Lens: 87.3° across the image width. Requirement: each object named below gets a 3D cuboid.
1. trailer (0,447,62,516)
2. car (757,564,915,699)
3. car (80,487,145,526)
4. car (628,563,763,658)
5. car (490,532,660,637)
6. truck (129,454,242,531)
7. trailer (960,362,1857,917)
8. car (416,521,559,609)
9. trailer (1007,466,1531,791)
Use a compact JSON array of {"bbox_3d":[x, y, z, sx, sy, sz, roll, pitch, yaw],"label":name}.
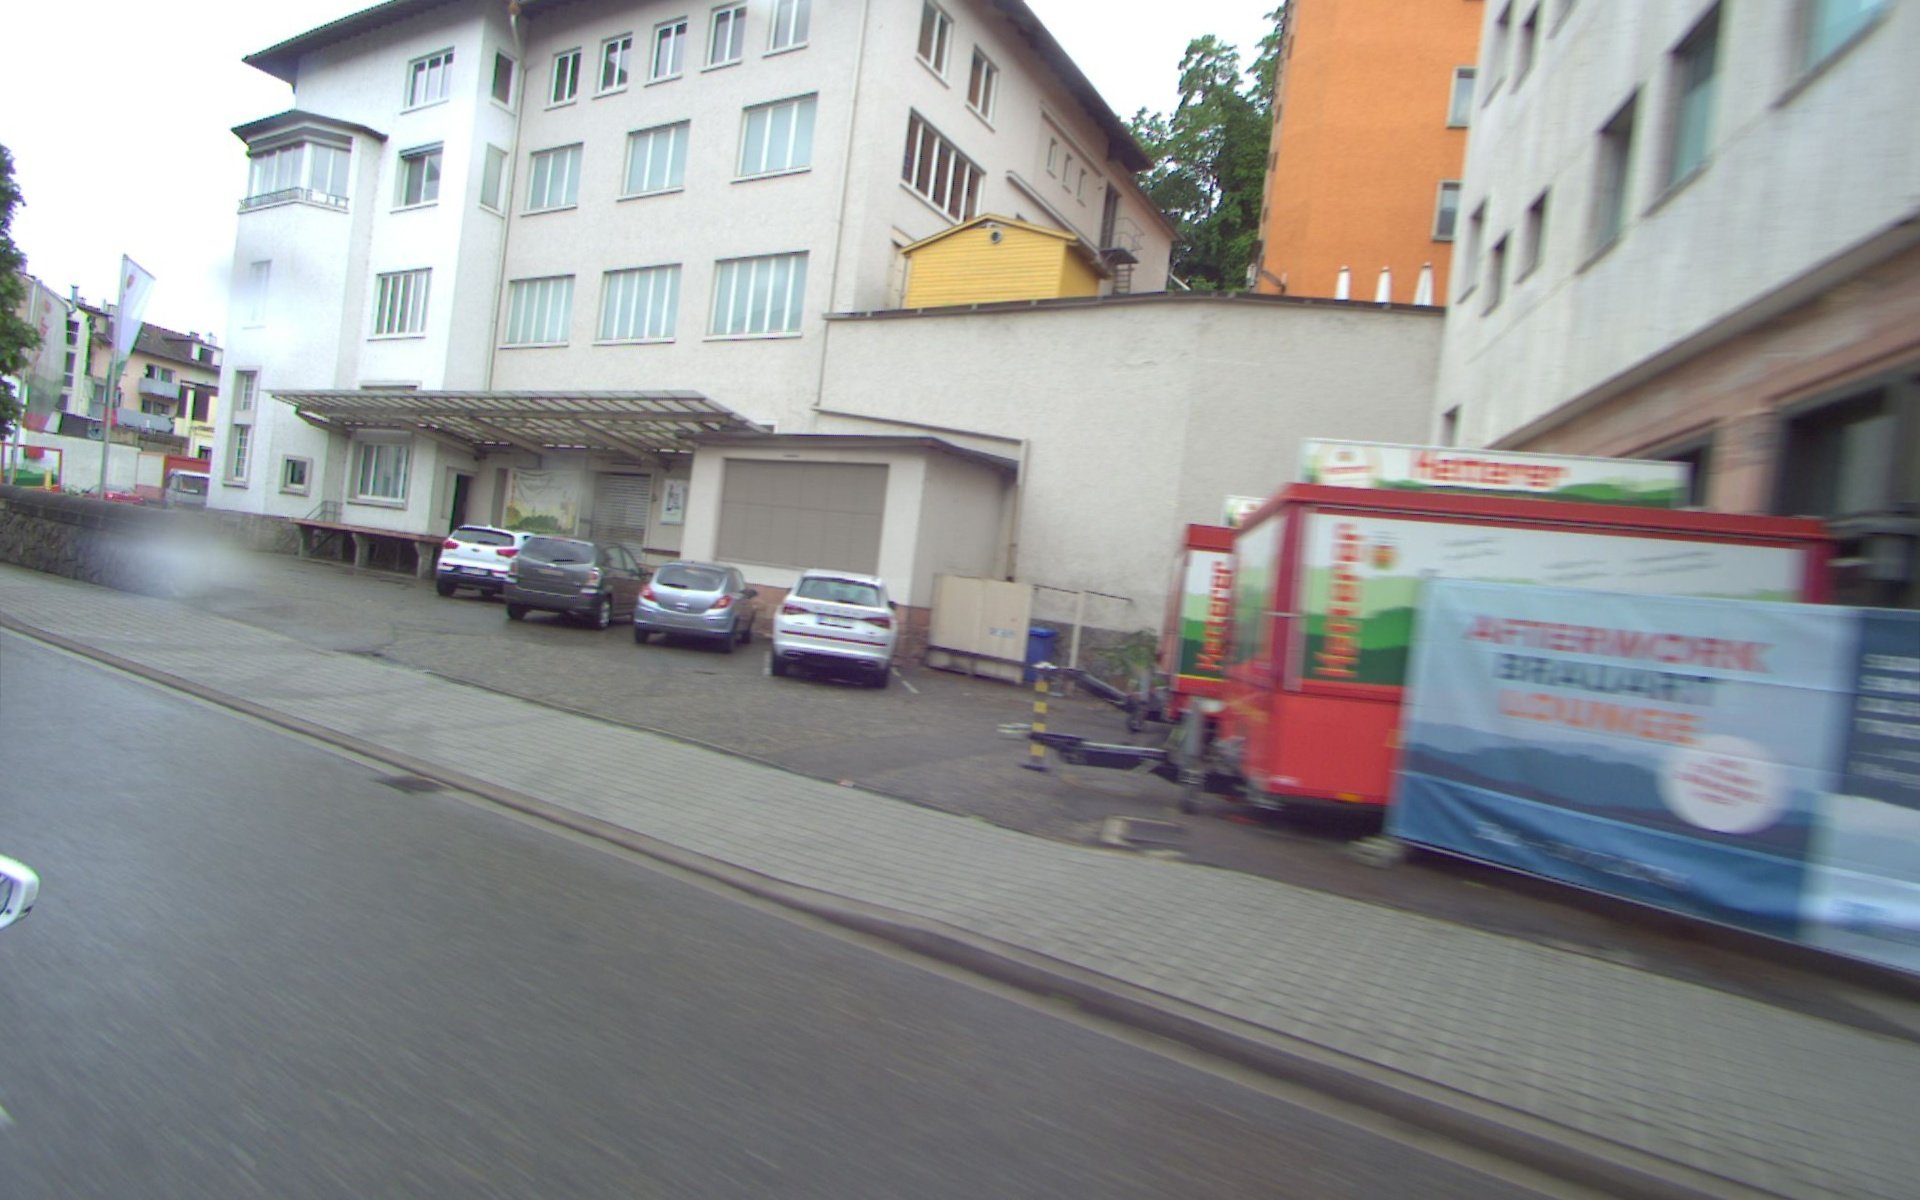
[{"bbox_3d":[-42.625,-5.396,45.226,5.306,2.753,2.125,7,3,35],"label":"trailer"},{"bbox_3d":[-1.844,0.405,16.298,1.833,1.670,4.273,7,1,0],"label":"car"},{"bbox_3d":[-39.902,-4.401,47.346,3.215,1.475,1.589,7,1,37],"label":"car"},{"bbox_3d":[-4.732,0.121,18.486,1.615,1.419,3.835,5,1,-4],"label":"car"},{"bbox_3d":[-7.267,-0.313,19.433,1.740,1.603,3.996,7,1,-3],"label":"car"},{"bbox_3d":[-38.225,-5.340,49.567,6.824,3.258,2.629,7,2,37],"label":"truck"},{"bbox_3d":[3.081,0.213,8.244,5.607,3.217,2.636,6,1,6],"label":"trailer"},{"bbox_3d":[-10.504,-0.697,22.689,1.896,1.586,3.974,7,-2,-12],"label":"car"},{"bbox_3d":[3.952,0.318,13.907,5.956,3.348,2.751,7,0,10],"label":"trailer"}]
